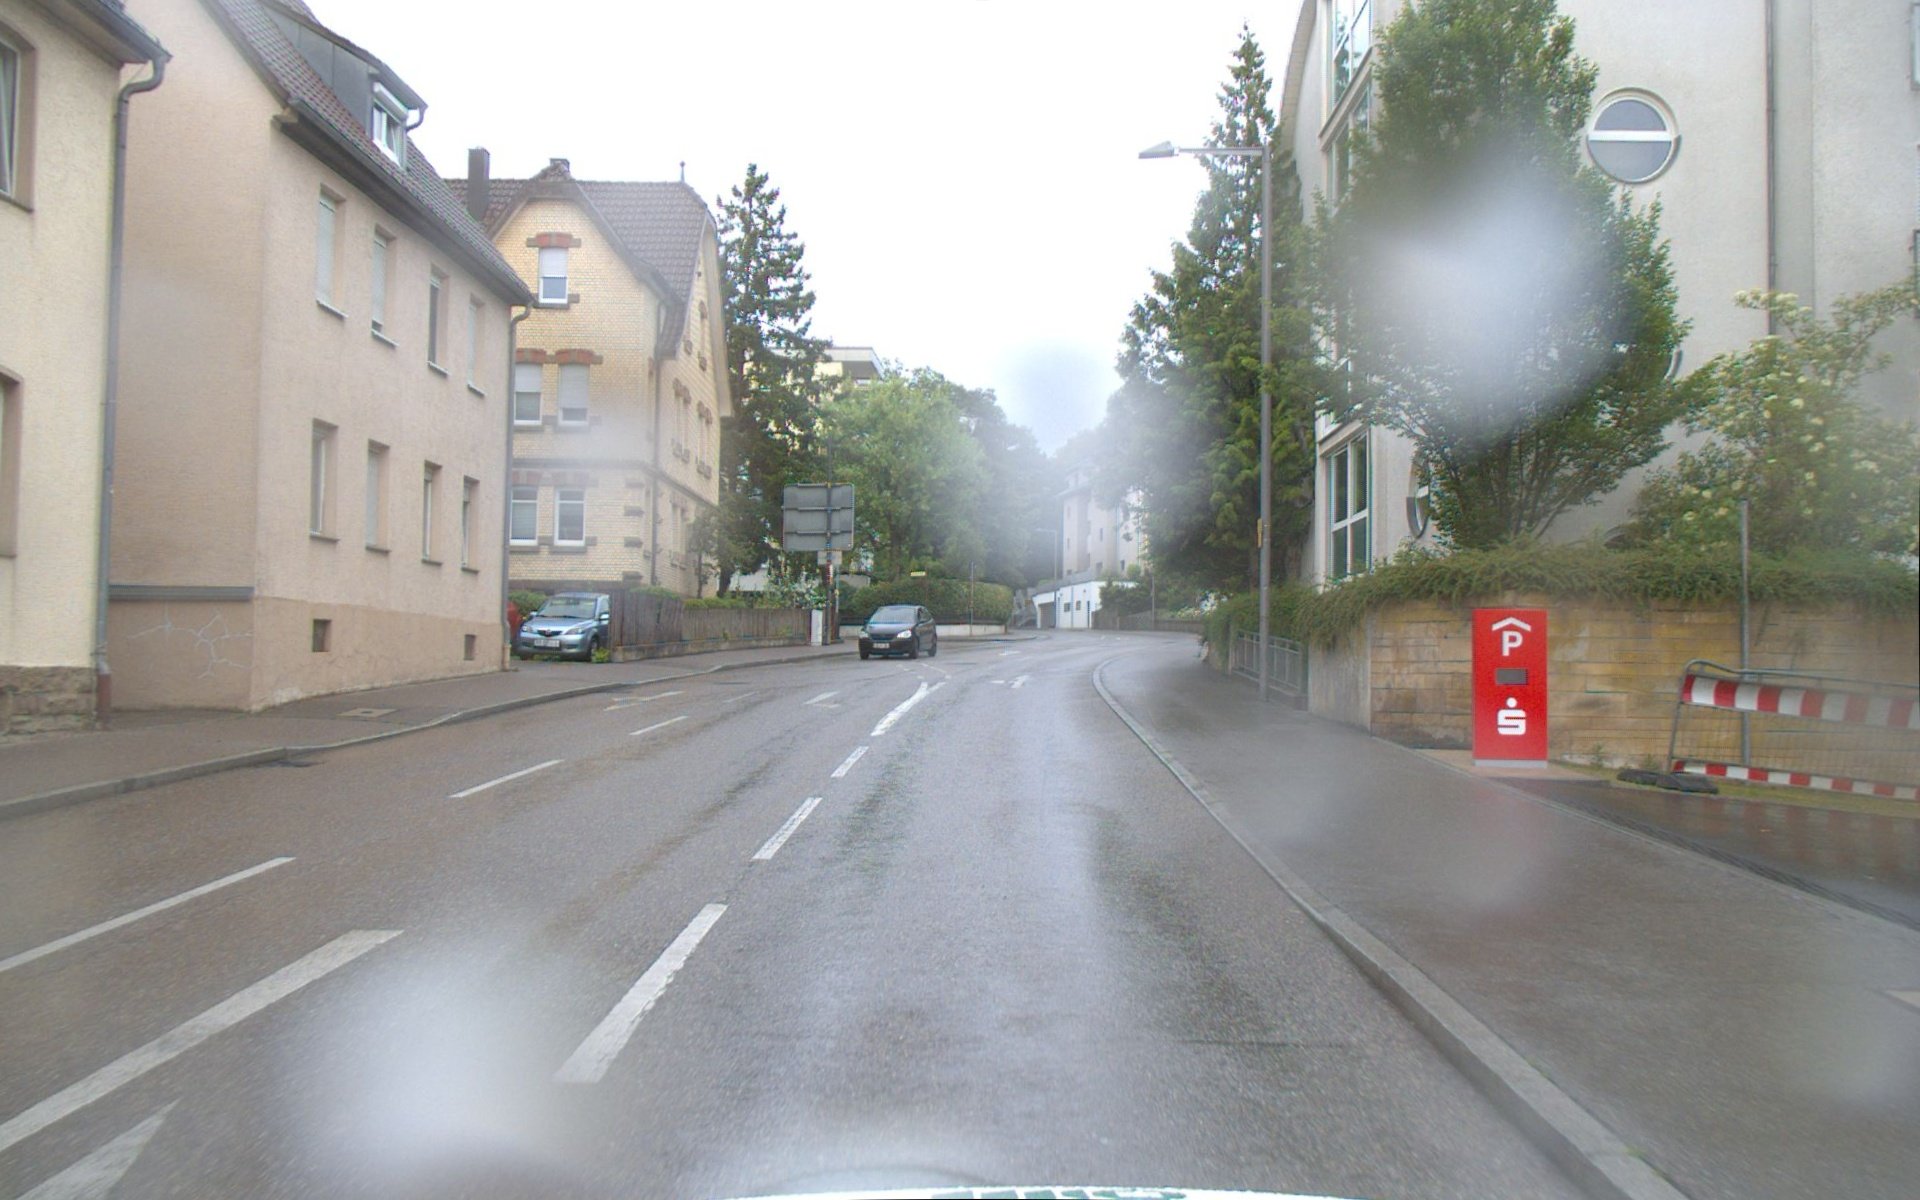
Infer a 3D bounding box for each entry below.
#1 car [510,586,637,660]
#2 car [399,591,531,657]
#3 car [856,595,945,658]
[{"bbox_3d":[-8.659,0.485,37.398,1.734,1.529,3.884,2,0,3],"label":"car"},{"bbox_3d":[-11.271,0.507,37.920,1.734,1.391,3.883,2,0,1],"label":"car"},{"bbox_3d":[-1.623,0.740,46.558,1.708,1.599,3.816,4,0,9],"label":"car"}]
